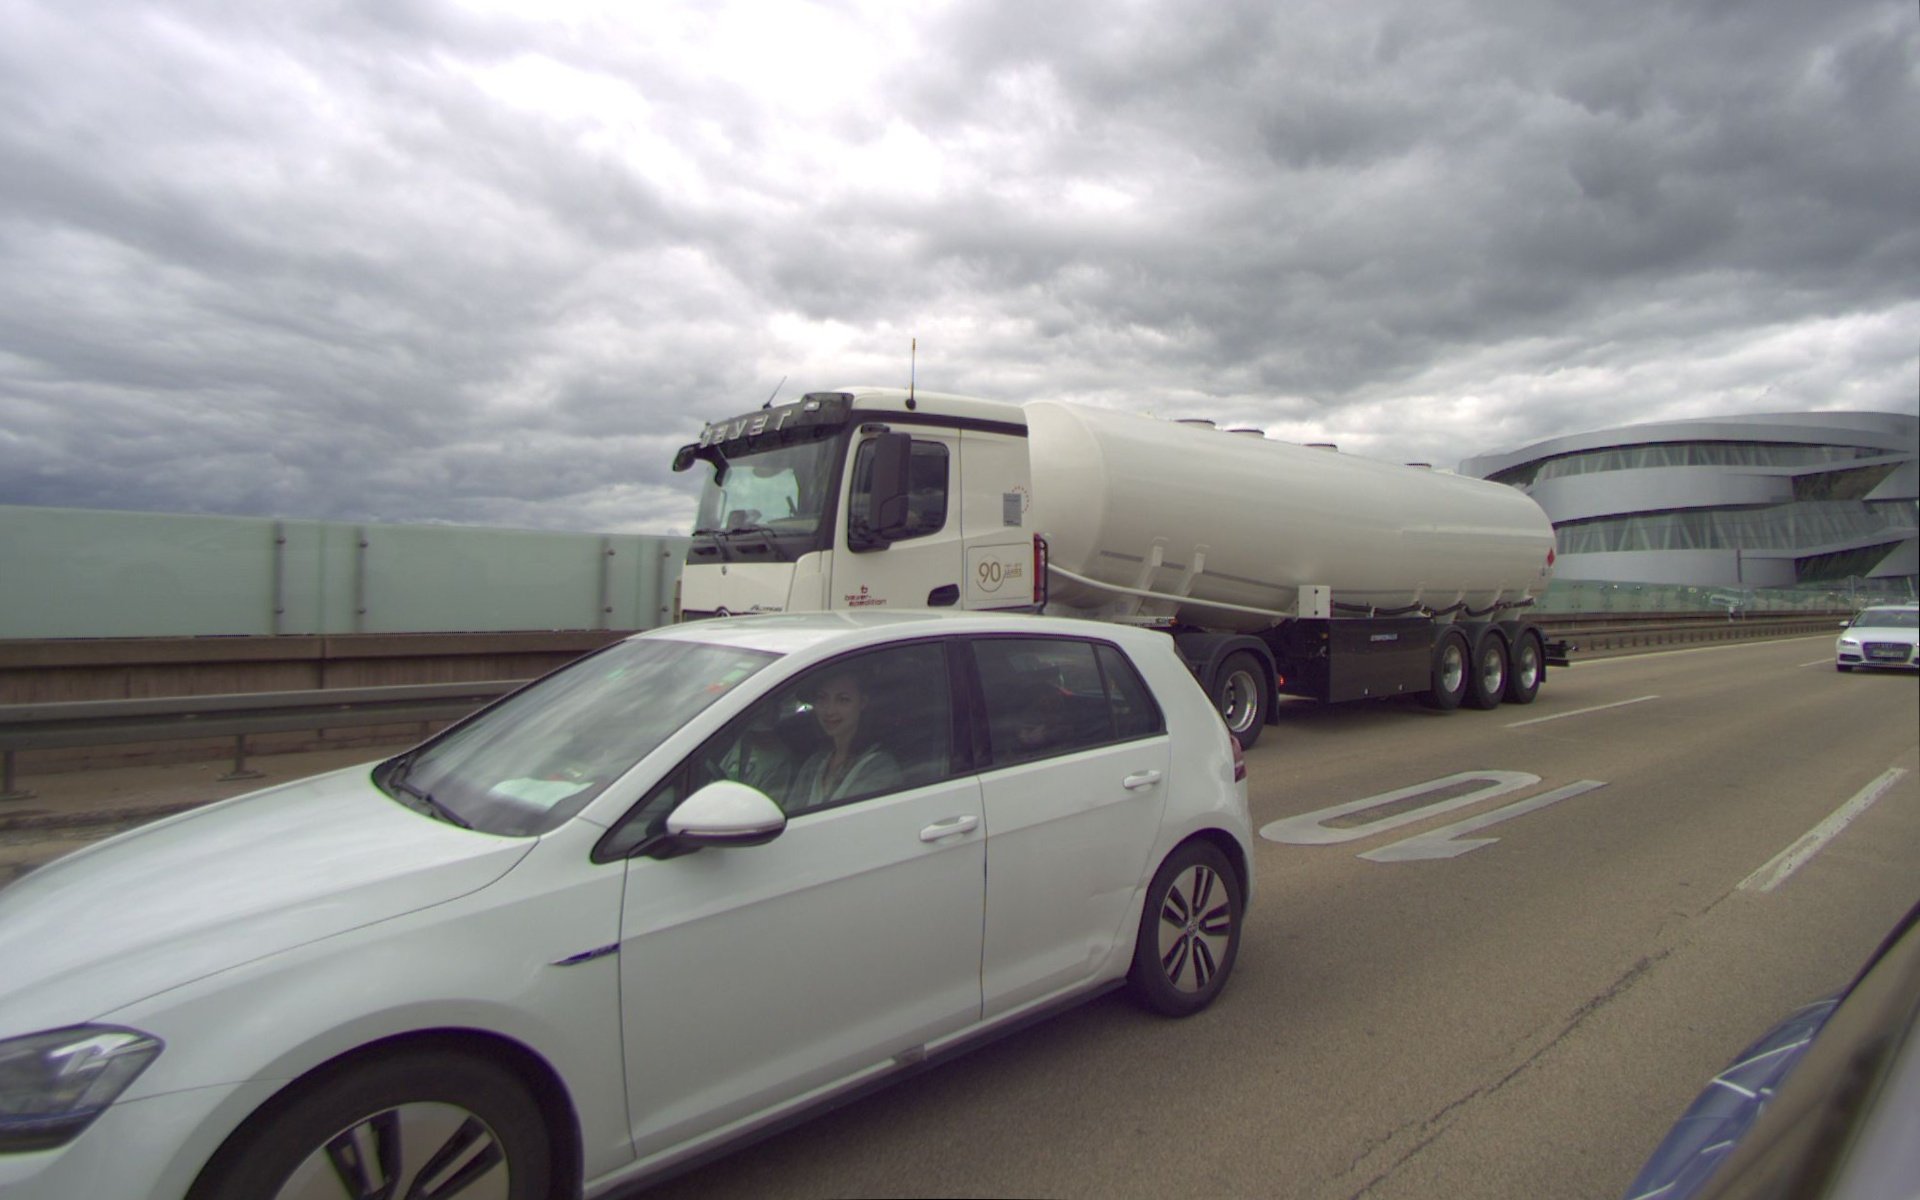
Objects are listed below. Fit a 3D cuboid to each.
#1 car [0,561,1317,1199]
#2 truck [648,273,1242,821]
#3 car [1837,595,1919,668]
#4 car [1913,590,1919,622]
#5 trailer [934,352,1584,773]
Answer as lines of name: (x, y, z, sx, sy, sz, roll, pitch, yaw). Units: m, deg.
car: (-0.670, 0.668, 3.319, 4.001, 1.470, 1.757, 0, 1, -42)
truck: (0.031, -0.384, 9.159, 4.818, 3.558, 2.636, -1, 1, -41)
car: (20.531, 0.642, 21.773, 3.861, 1.470, 1.848, 0, 0, -38)
car: (51.397, 0.327, 52.985, 3.563, 1.654, 1.784, 0, 0, -40)
trailer: (4.745, -0.361, 13.259, 11.023, 3.588, 2.655, 0, 0, -41)
